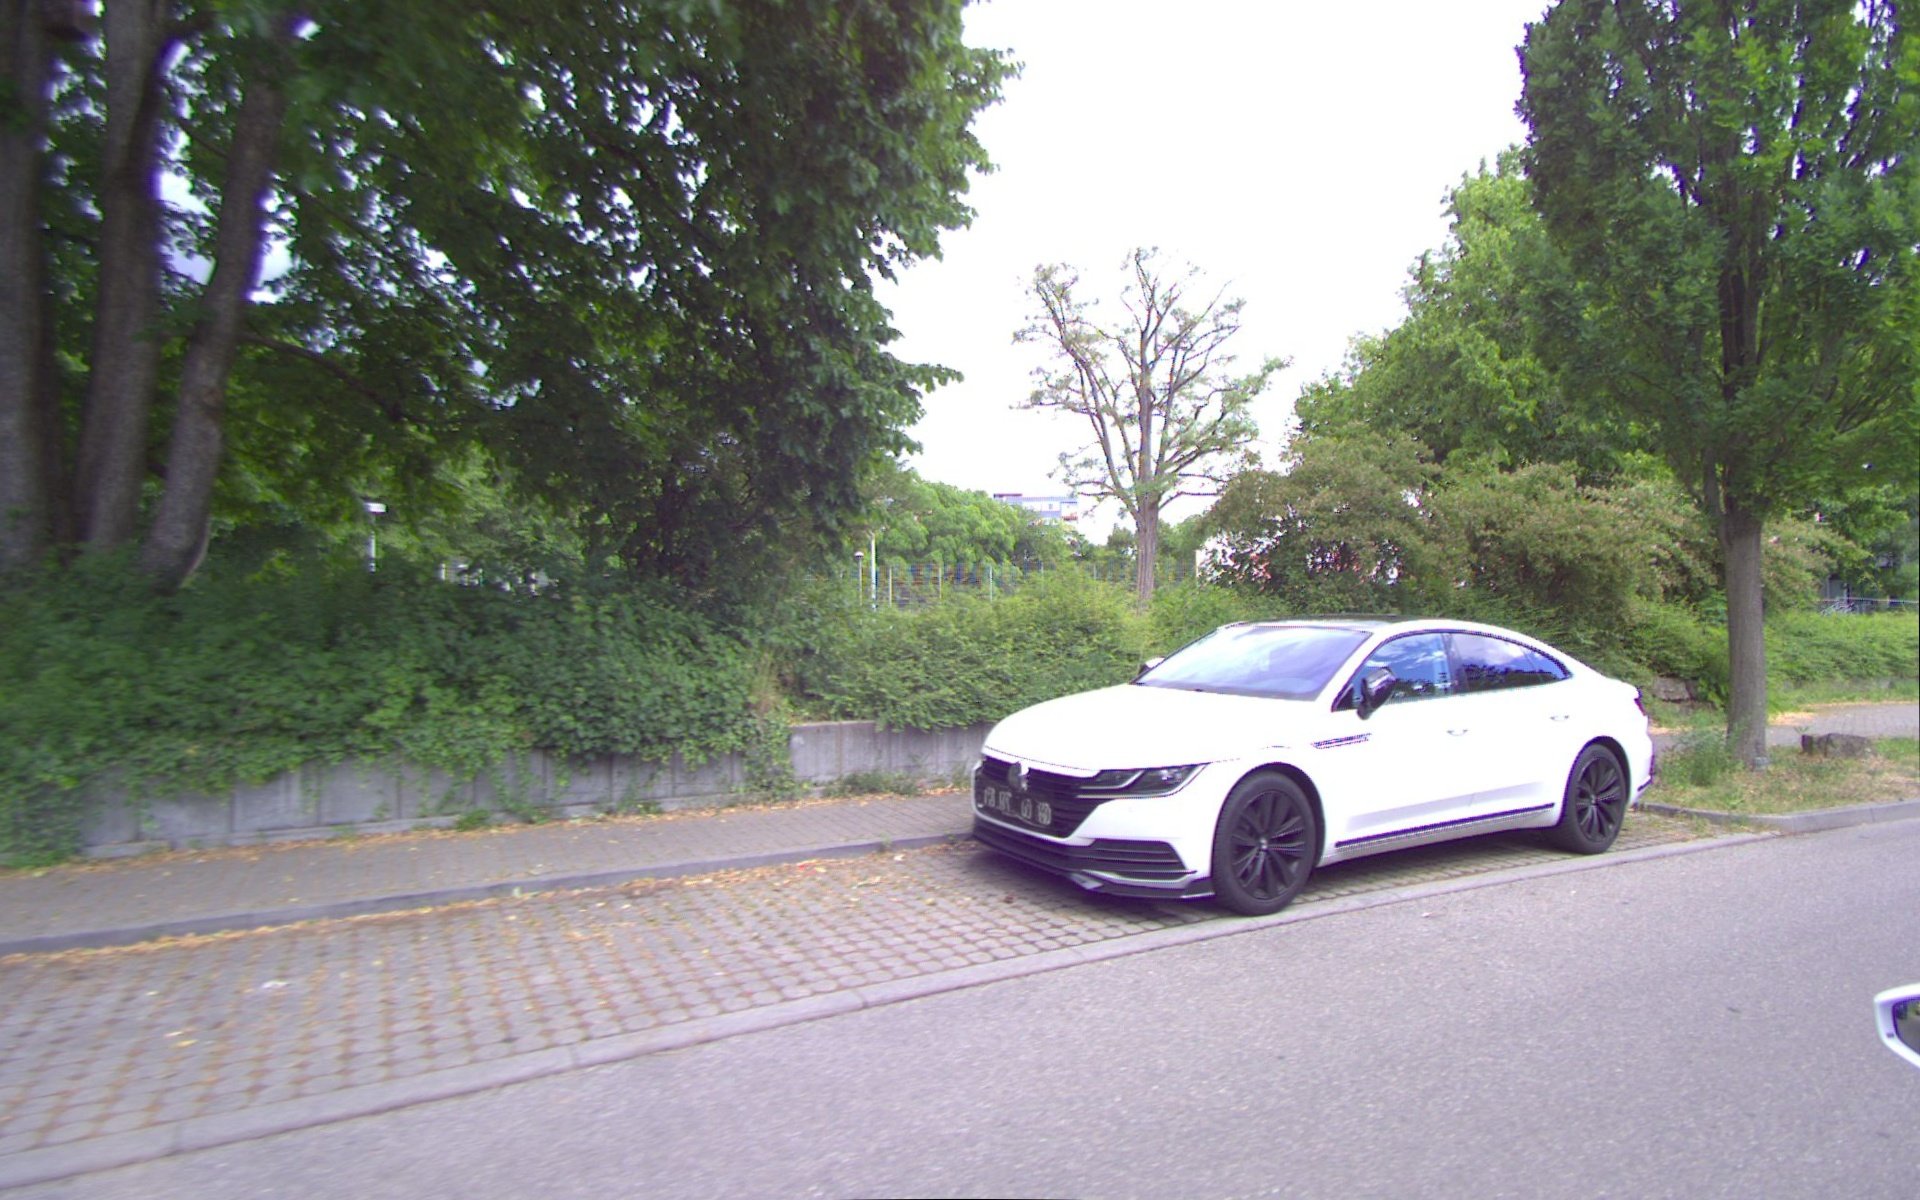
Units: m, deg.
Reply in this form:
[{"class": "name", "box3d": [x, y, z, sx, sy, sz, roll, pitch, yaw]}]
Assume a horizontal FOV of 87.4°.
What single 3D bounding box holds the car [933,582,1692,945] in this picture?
[{"class": "car", "box3d": [2.278, 0.732, 6.133, 4.580, 1.511, 1.839, 1, -1, -30]}]
